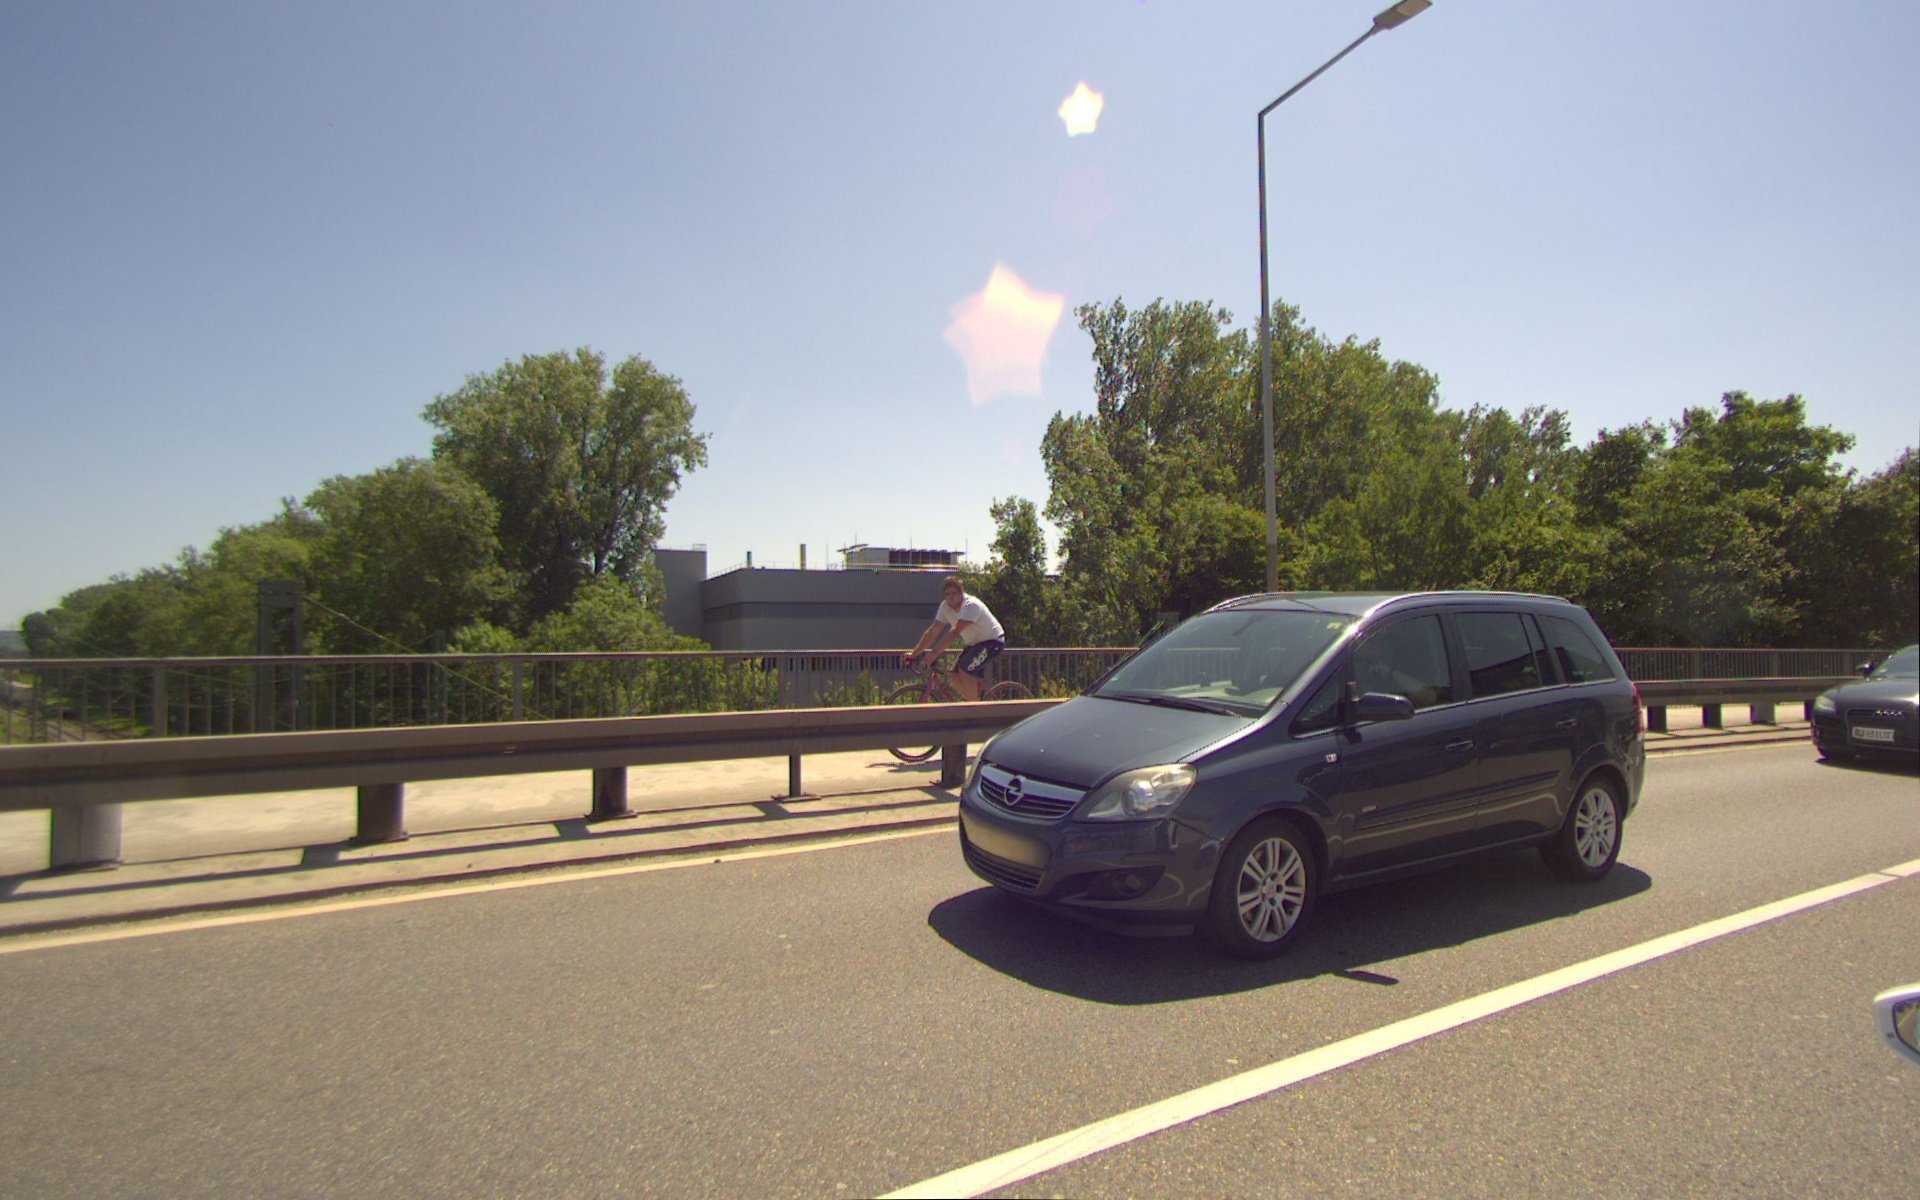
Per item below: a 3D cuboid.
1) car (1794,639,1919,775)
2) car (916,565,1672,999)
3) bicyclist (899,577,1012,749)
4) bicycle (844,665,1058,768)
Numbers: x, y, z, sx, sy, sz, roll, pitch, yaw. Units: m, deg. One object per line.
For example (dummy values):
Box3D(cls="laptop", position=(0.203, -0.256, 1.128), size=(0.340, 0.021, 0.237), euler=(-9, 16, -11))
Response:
Box3D(cls="car", position=(11.246, 1.119, 11.075), size=(3.919, 1.325, 1.673), euler=(1, -1, -25))
Box3D(cls="car", position=(2.006, 0.727, 5.631), size=(4.204, 1.648, 1.698), euler=(1, 0, -31))
Box3D(cls="bicyclist", position=(-0.044, 0.577, 9.489), size=(0.885, 1.541, 0.581), euler=(1, -1, -27))
Box3D(cls="bicycle", position=(-0.067, 1.063, 9.473), size=(1.966, 0.844, 0.586), euler=(1, -1, -28))
